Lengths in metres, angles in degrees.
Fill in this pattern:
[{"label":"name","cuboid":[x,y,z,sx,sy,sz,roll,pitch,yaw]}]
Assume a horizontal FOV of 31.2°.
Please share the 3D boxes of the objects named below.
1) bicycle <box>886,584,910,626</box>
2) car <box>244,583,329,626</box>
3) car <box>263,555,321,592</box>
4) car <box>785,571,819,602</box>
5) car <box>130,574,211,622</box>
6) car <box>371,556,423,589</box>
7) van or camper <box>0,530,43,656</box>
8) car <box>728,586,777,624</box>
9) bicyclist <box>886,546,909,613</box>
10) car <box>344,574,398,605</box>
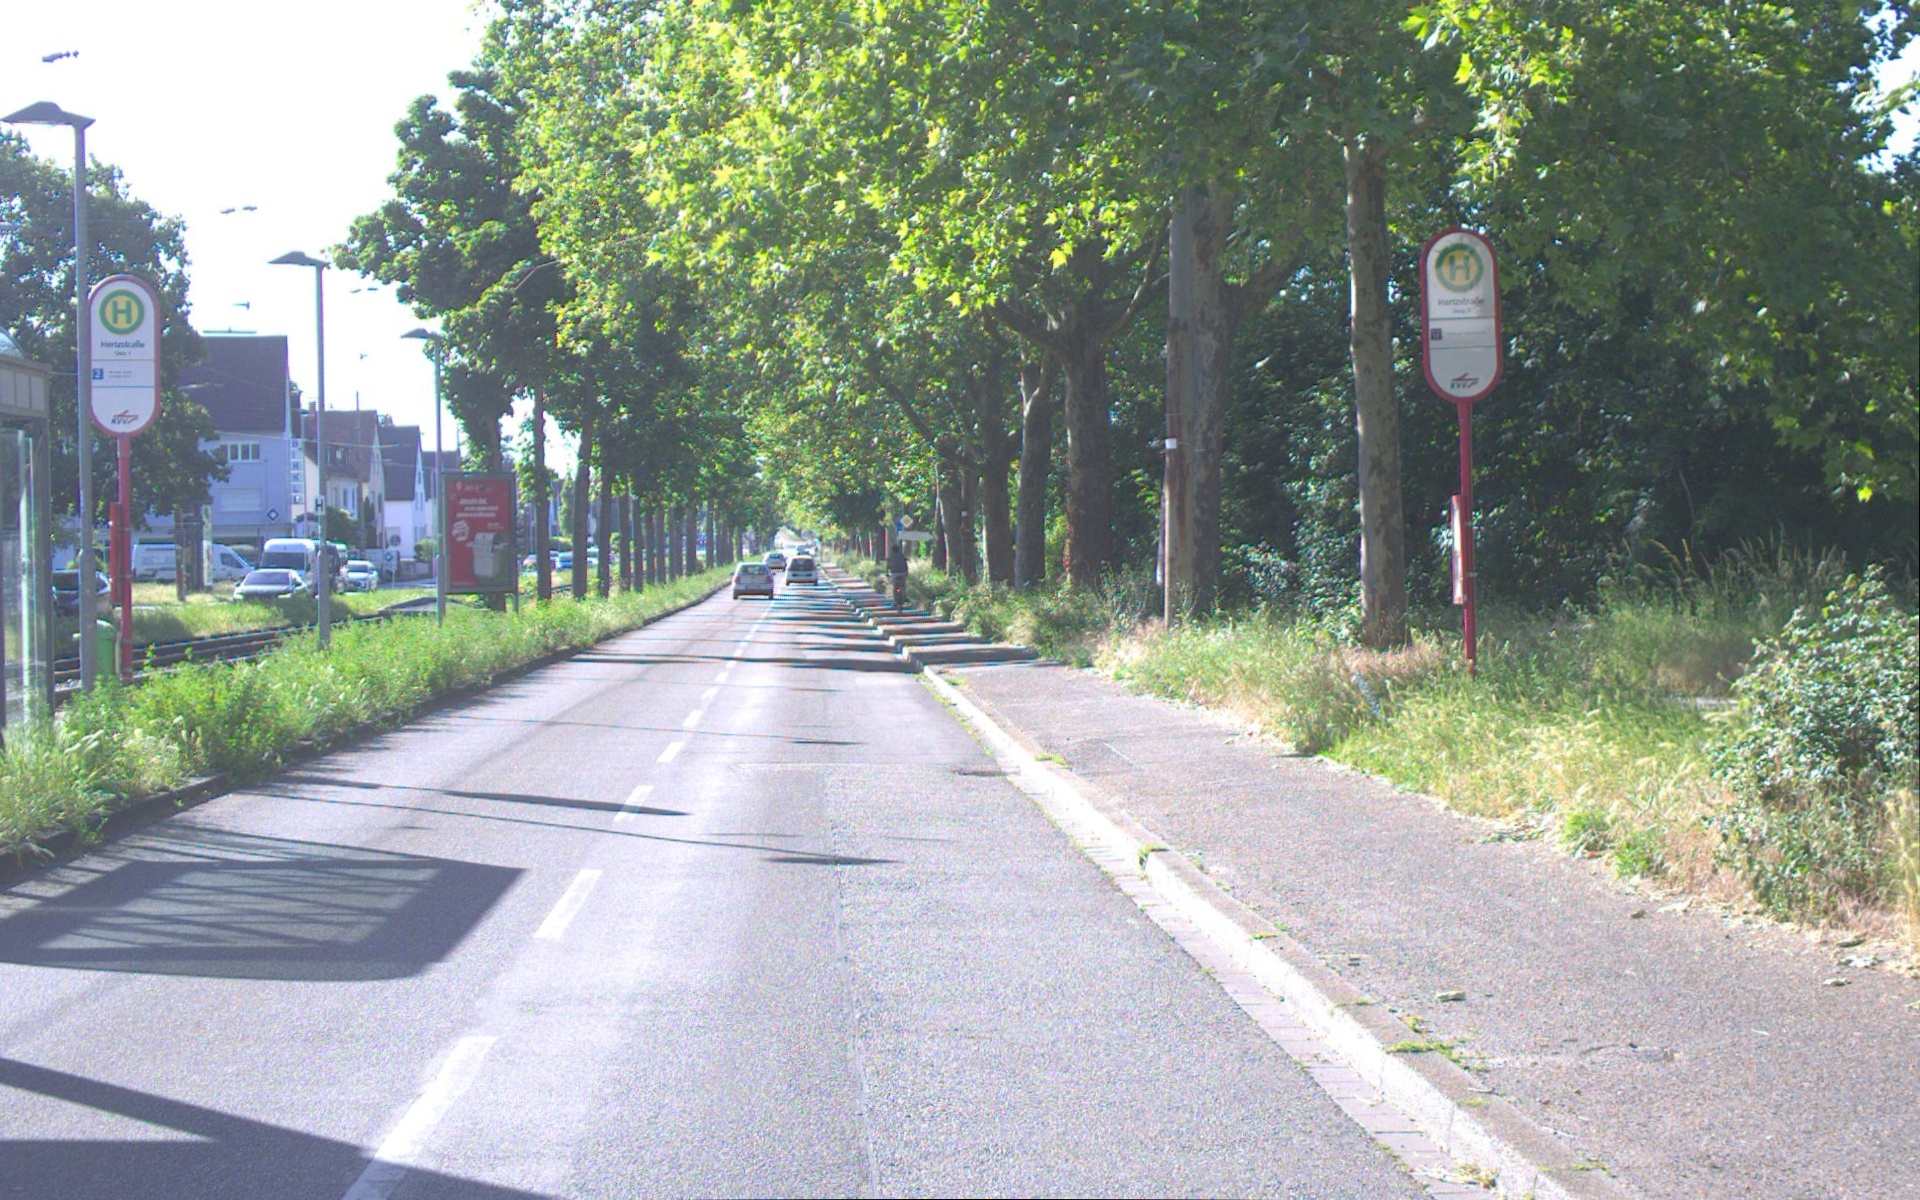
[{"label":"bicycle","cuboid":[-1.636,0.126,90.652,0.536,1.062,1.434,-1,1,-4]},{"label":"car","cuboid":[-20.946,0.136,107.082,1.920,1.262,4.000,-1,1,-1]},{"label":"car","cuboid":[-27.937,-1.124,143.877,1.744,1.491,3.592,-1,1,-1]},{"label":"car","cuboid":[-8.151,-0.717,177.951,1.750,1.599,3.750,0,1,-2]},{"label":"car","cuboid":[-27.228,-0.096,118.659,1.920,1.571,4.000,-1,1,-1]},{"label":"car","cuboid":[-29.078,-1.443,177.636,1.993,1.637,4.000,-1,1,0]},{"label":"van or camper","cuboid":[-25.083,-0.157,86.180,2.589,3.095,6.789,-1,1,-3]},{"label":"car","cuboid":[-8.138,0.189,135.016,1.867,1.481,3.556,0,0,-2]},{"label":"bicyclist","cuboid":[-1.654,-0.537,90.688,0.534,1.764,0.713,-1,0,-4]},{"label":"car","cuboid":[-28.117,-0.506,164.132,1.920,1.433,4.000,-1,1,-1]}]
